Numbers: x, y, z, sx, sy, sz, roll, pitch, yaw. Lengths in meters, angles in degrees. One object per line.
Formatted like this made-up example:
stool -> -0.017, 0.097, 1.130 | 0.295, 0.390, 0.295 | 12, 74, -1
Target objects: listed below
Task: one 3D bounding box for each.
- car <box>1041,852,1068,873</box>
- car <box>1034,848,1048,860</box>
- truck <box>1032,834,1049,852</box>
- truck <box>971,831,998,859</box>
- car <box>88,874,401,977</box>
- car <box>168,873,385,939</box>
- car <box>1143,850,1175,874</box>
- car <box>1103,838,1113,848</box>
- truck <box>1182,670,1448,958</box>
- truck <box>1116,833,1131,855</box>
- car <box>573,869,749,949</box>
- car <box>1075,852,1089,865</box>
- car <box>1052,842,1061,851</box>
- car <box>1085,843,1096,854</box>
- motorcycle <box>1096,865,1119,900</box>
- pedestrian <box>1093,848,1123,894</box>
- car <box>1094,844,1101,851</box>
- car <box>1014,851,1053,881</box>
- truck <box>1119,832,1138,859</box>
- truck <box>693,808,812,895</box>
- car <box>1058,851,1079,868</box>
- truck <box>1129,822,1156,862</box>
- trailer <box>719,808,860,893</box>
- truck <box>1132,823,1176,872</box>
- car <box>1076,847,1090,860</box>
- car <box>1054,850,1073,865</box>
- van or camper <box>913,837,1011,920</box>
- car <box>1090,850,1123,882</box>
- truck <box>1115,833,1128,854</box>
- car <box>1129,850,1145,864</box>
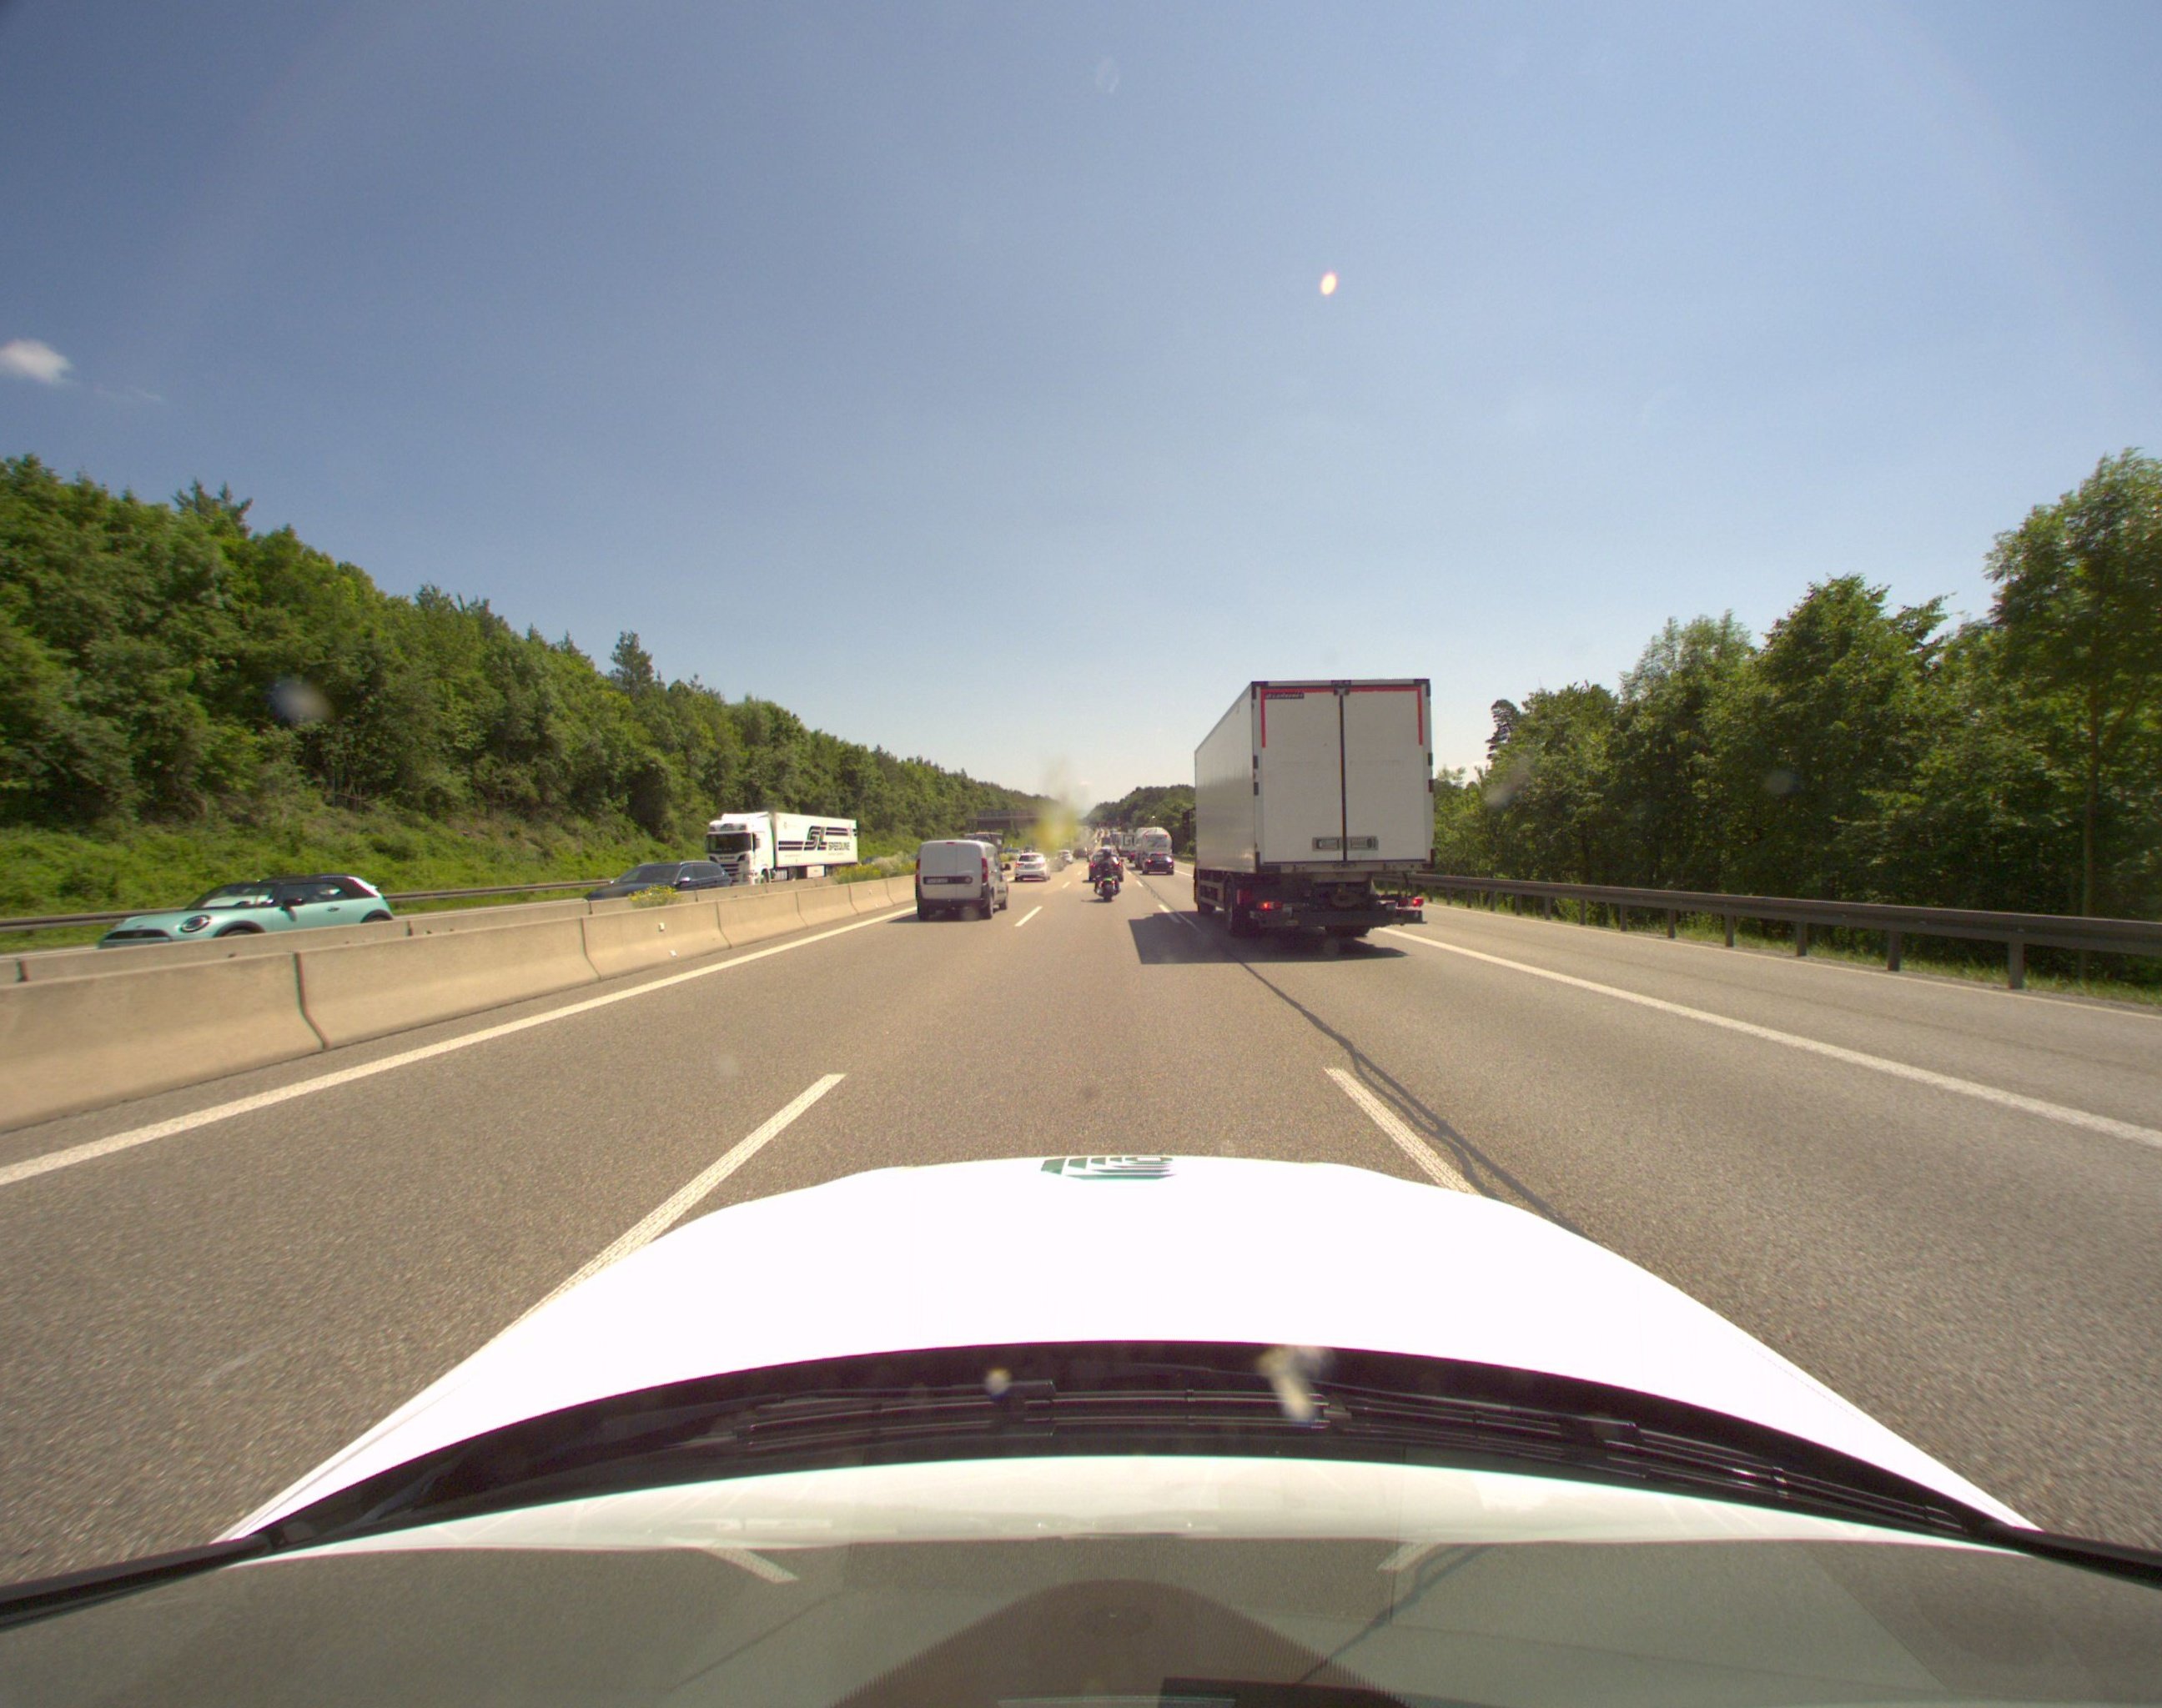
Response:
car -> -1.960, 0.616, 61.109 | 1.693, 1.478, 4.002 | -1, 0, 2
car -> -6.966, -0.002, 140.619 | 1.872, 2.013, 4.470 | -4, -1, 2
truck -> -10.815, -2.989, 217.394 | 3.711, 4.528, 7.327 | -3, -1, 1
truck -> -14.674, -1.367, 124.492 | 2.895, 3.974, 7.772 | -3, -1, 2
car -> -14.484, 1.153, 14.453 | 1.576, 1.445, 3.732 | -3, -1, 2
car -> -21.742, 1.338, 22.301 | 1.660, 1.466, 4.191 | -2, 0, 2
car -> 5.027, 0.481, 52.751 | 1.822, 1.470, 4.002 | 0, 0, 2
car -> 6.841, -2.816, 208.998 | 2.495, 2.587, 5.018 | -1, 0, 2
truck -> 3.888, -0.564, 16.351 | 2.678, 3.876, 9.785 | -4, 0, 2
truck -> 9.066, -2.128, 174.448 | 3.022, 4.542, 9.987 | 0, 0, 2
car -> -10.294, 1.275, 20.436 | 1.899, 1.640, 4.539 | -2, 0, 2
car -> 0.176, 0.727, 128.256 | 1.986, 2.013, 4.002 | -3, -1, 2
car -> -7.224, -2.229, 241.440 | 1.986, 2.377, 7.368 | -1, 0, 2
car -> 1.929, -1.089, 160.742 | 1.922, 2.013, 4.002 | -3, -1, 2
motorcycle -> 0.852, 0.881, 25.745 | 0.688, 1.015, 2.123 | 0, 0, 3
pedestrian -> 0.865, 0.529, 25.840 | 0.846, 1.362, 0.962 | -3, 0, 3
car -> 4.867, -1.957, 246.099 | 1.986, 2.013, 4.002 | 0, 0, 2
car -> -2.471, 0.583, 43.293 | 1.693, 1.478, 4.002 | -1, 0, 2
truck -> 8.081, -1.455, 138.990 | 3.022, 4.542, 9.987 | 0, 0, 2
truck -> -17.417, -0.091, 43.879 | 2.791, 4.165, 7.606 | -2, -1, 3
car -> -1.127, 0.445, 74.526 | 1.693, 1.478, 4.002 | -1, 0, 2
truck -> 5.777, -1.074, 76.667 | 1.987, 3.522, 4.749 | -3, -1, -1
trailer -> -17.172, -0.151, 49.714 | 2.791, 4.338, 14.046 | -2, -1, 3
truck -> 5.933, -0.446, 67.660 | 2.977, 3.671, 9.291 | -3, -1, 2
car -> 0.345, -0.094, 115.626 | 1.873, 1.859, 4.002 | -1, 0, 2
car -> -1.829, 0.328, 86.313 | 1.693, 1.478, 4.002 | -1, 0, 2
van or camper -> -2.902, 0.578, 20.698 | 1.790, 1.892, 4.160 | -1, -1, 1
car -> 1.300, 0.597, 41.919 | 1.527, 1.510, 4.001 | -3, 0, 1
truck -> 10.130, -2.552, 204.139 | 3.022, 5.139, 9.987 | 0, 0, 2
car -> 6.451, 0.303, 94.224 | 1.780, 1.555, 3.805 | -1, 0, 2
